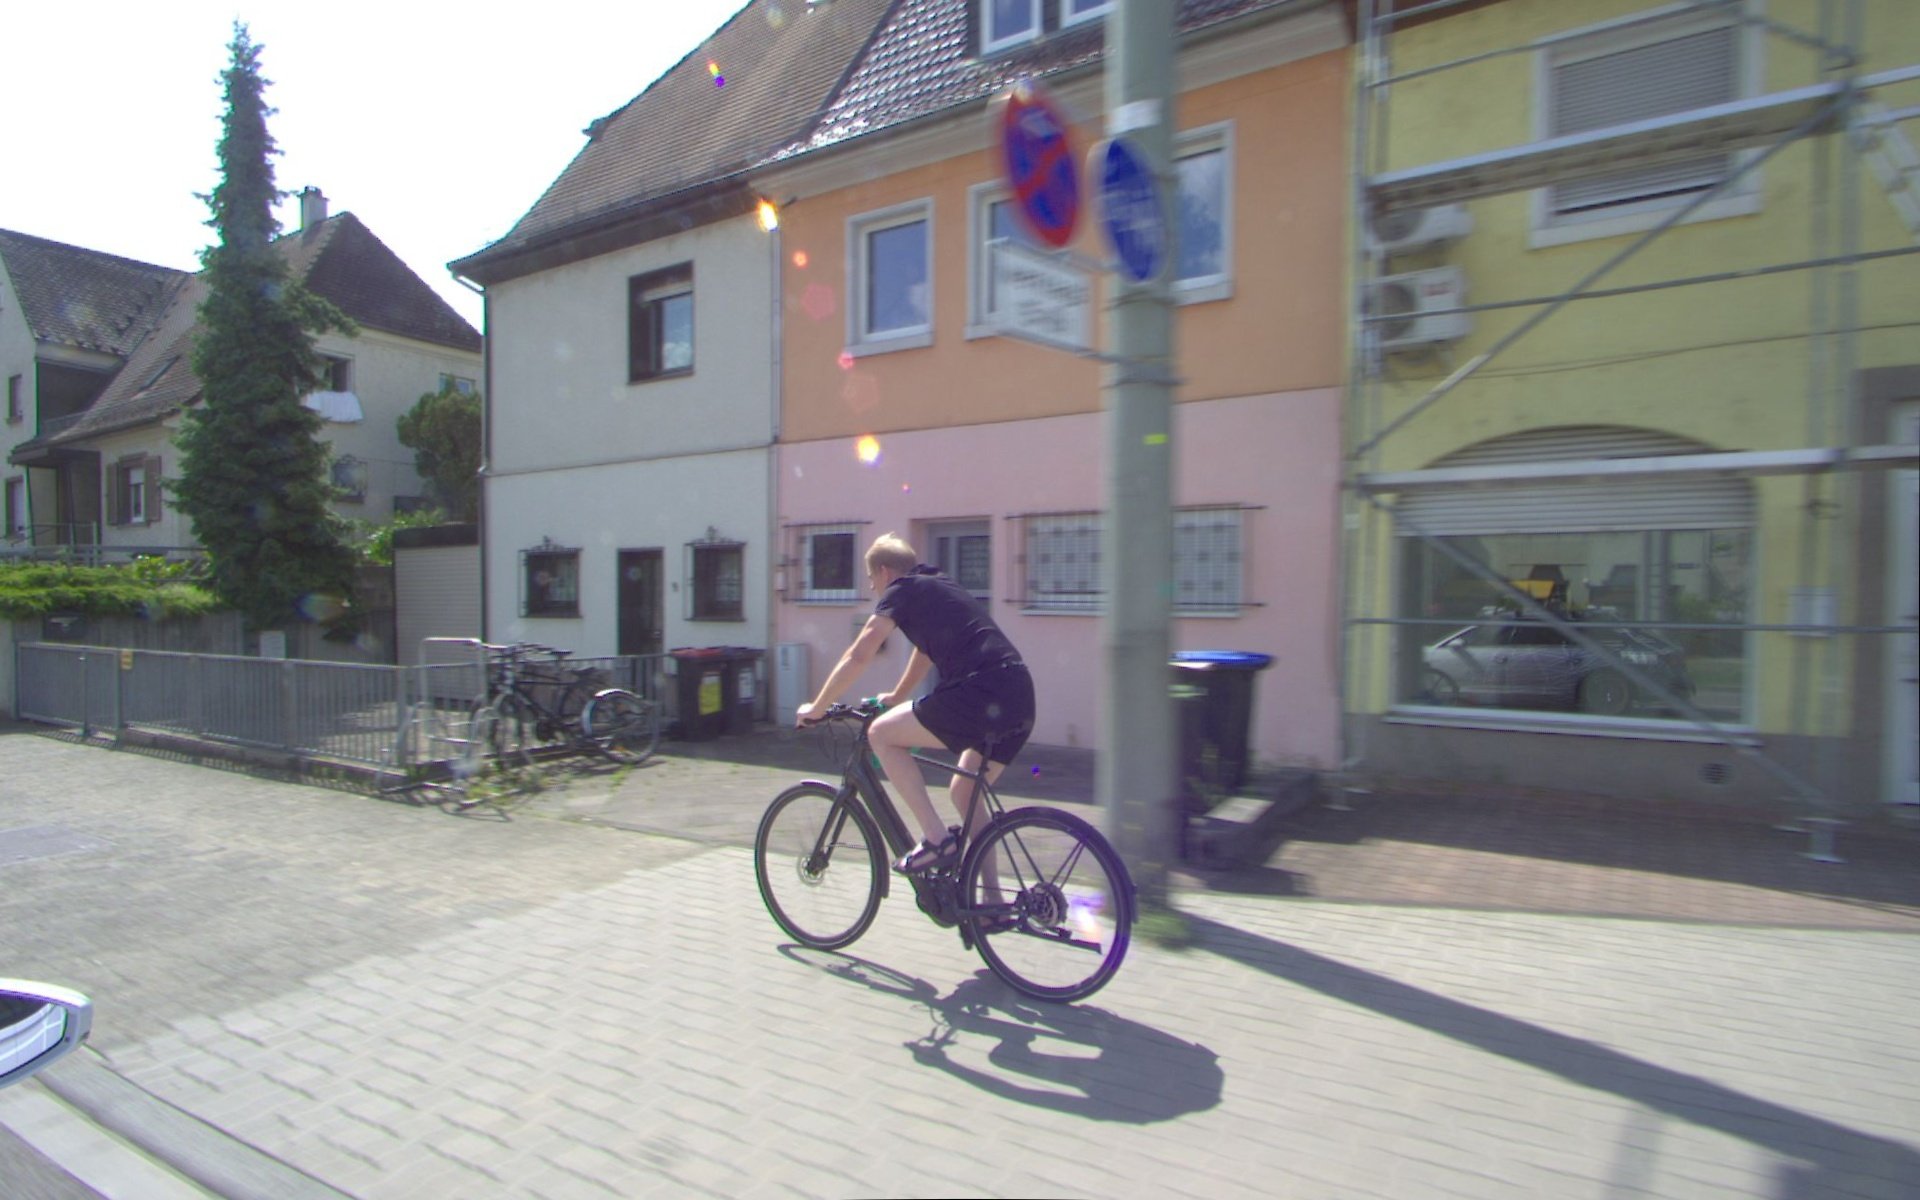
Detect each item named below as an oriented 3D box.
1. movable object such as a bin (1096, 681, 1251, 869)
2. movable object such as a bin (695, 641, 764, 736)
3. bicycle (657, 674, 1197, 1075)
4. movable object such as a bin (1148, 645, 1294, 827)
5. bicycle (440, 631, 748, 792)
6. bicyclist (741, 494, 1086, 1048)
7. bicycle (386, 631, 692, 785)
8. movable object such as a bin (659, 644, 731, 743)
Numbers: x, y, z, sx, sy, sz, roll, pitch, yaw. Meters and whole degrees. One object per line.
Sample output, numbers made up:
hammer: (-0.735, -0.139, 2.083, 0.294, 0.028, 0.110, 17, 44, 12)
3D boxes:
movable object such as a bin: (1.207, 0.949, 5.651, 0.731, 0.930, 0.510, 0, -1, 33)
movable object such as a bin: (-2.463, 0.931, 10.726, 0.550, 0.959, 0.467, 0, 0, 32)
bicycle: (-0.150, 0.906, 3.888, 1.940, 1.090, 0.827, 1, 2, 27)
movable object such as a bin: (1.755, 0.876, 6.735, 0.843, 1.119, 0.510, 0, -1, 33)
bicycle: (-3.099, 0.881, 8.872, 0.775, 1.120, 2.656, 0, 0, 31)
bicyclist: (-0.159, 0.556, 3.881, 1.067, 1.818, 0.827, 1, 2, 27)
bicycle: (-3.735, 0.894, 9.252, 0.681, 1.134, 2.721, 0, 0, 31)
movable object such as a bin: (-2.725, 0.947, 10.312, 0.550, 0.959, 0.467, 0, 0, 32)
